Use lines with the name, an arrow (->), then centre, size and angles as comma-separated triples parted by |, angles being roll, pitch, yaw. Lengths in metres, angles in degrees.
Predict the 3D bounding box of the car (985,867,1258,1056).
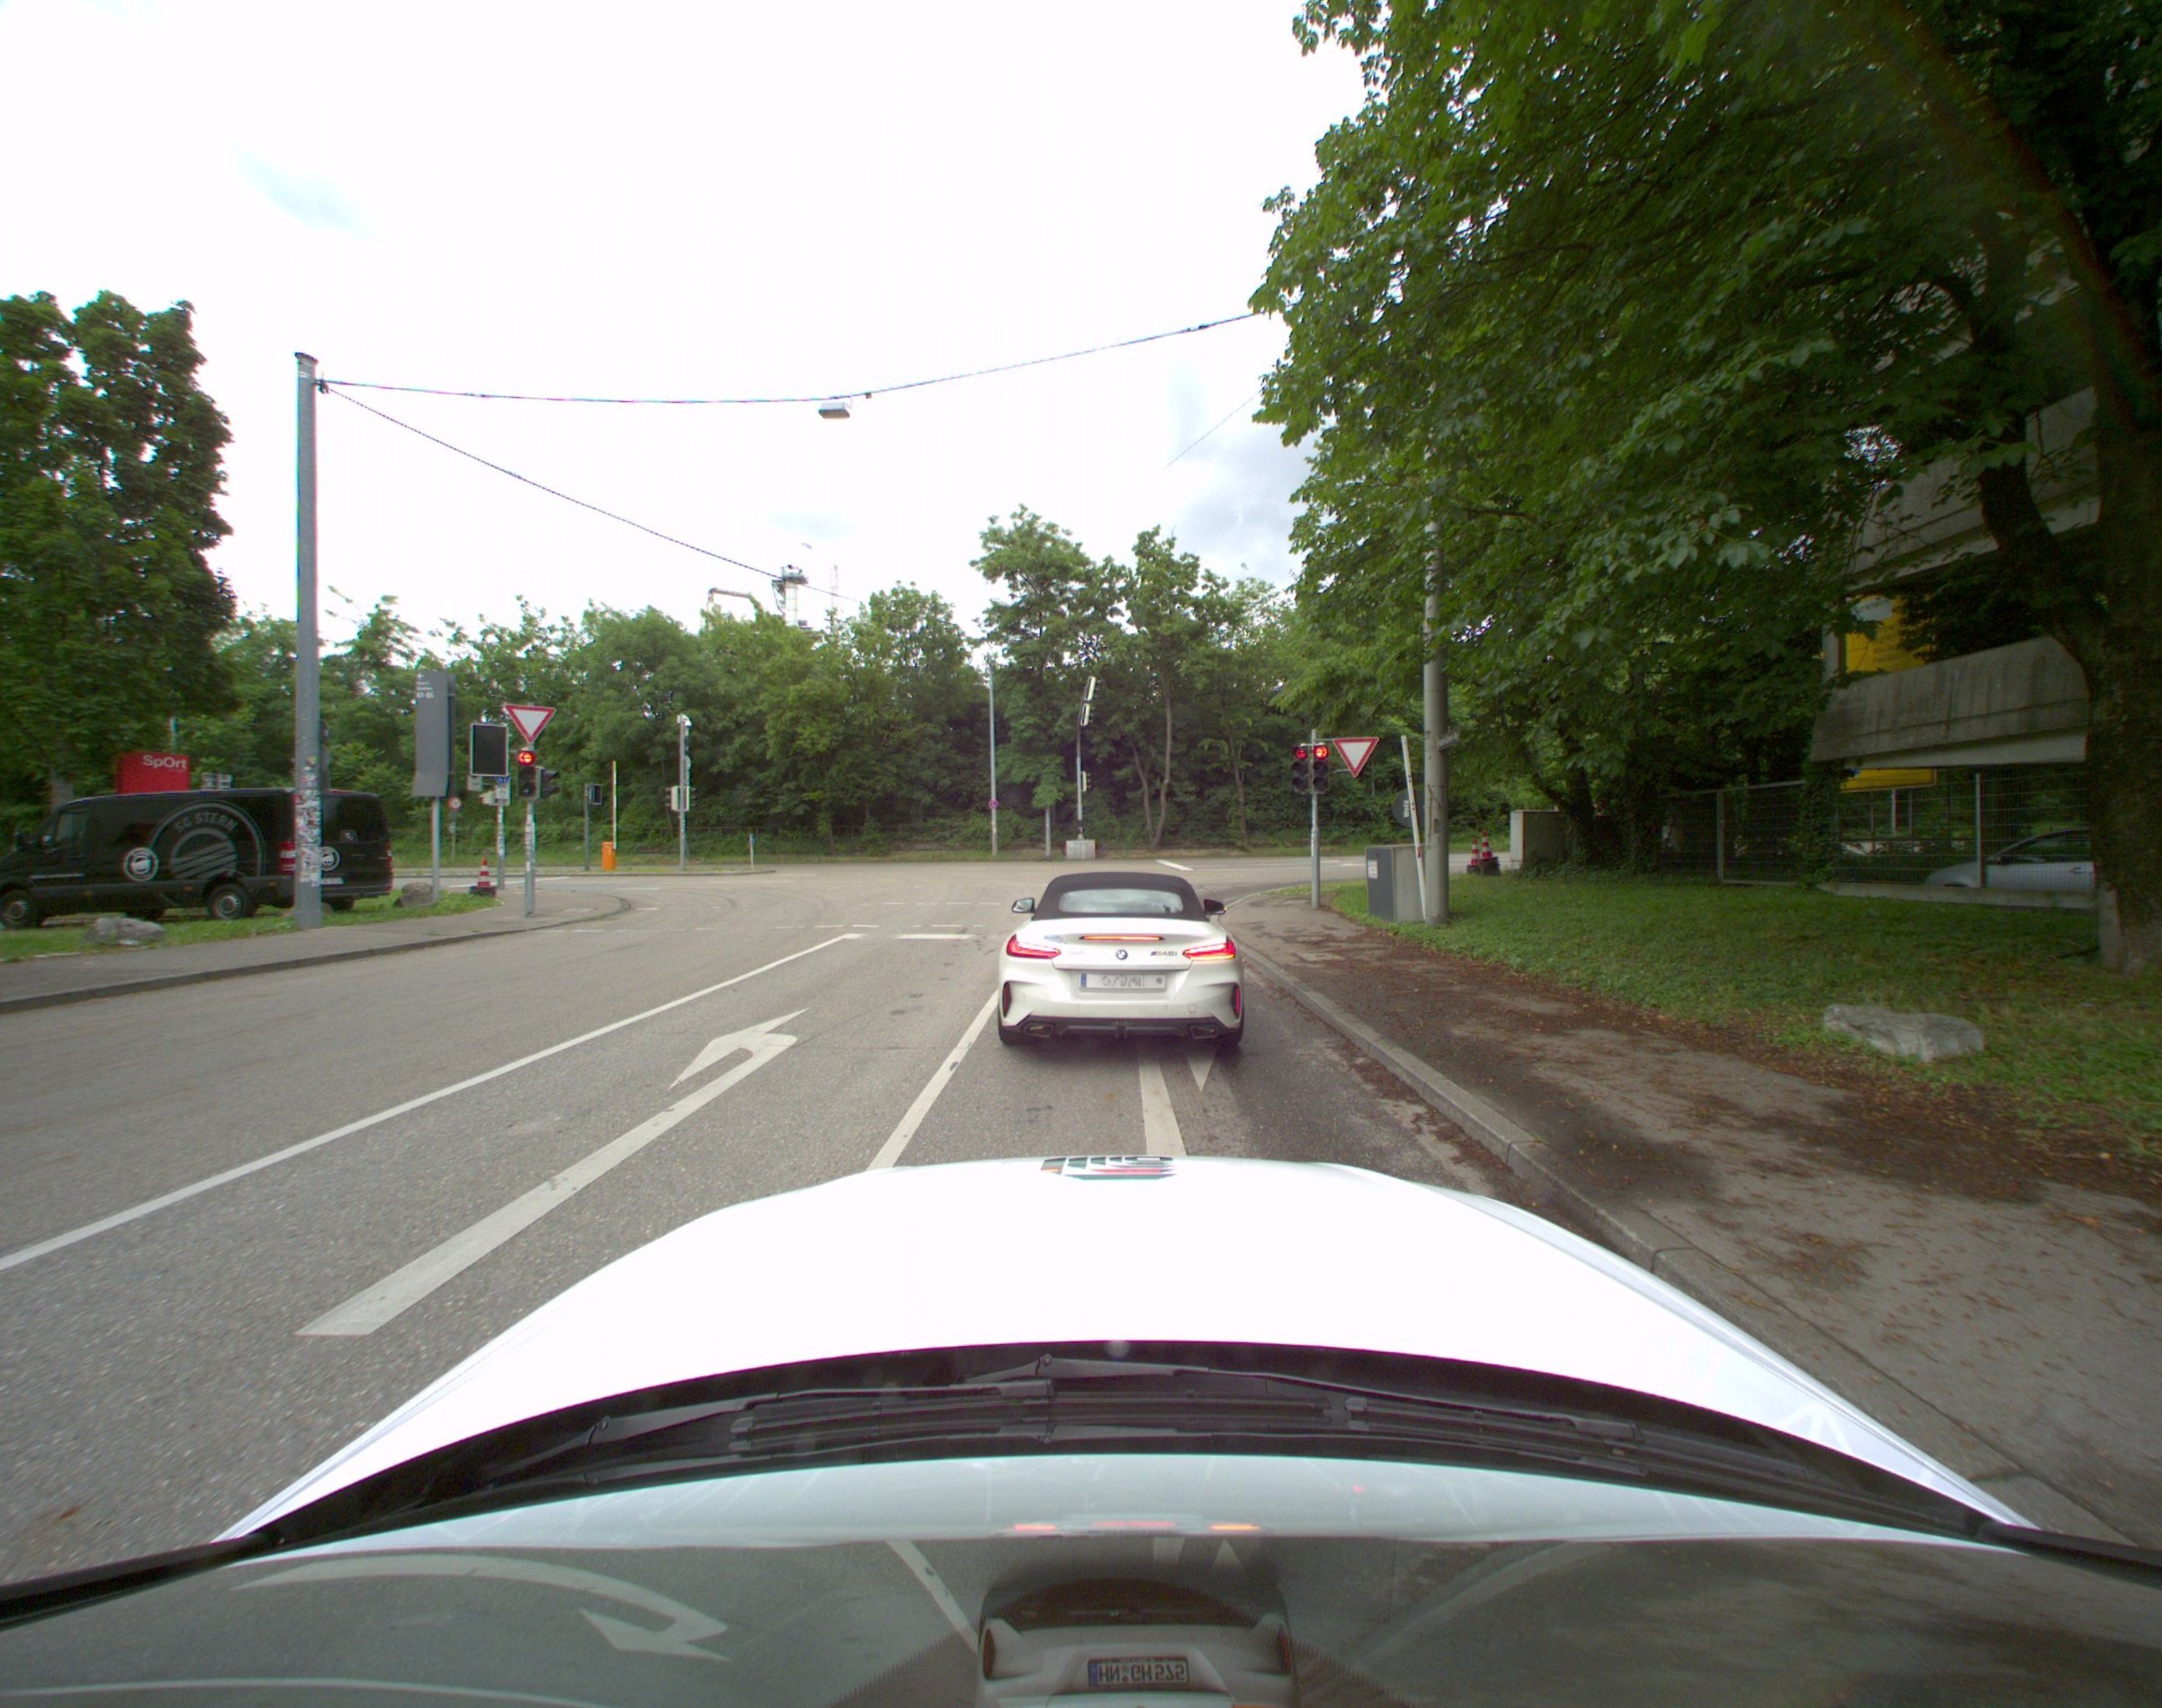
car -> 0.268, 0.758, 7.444 | 1.822, 1.257, 3.999 | 0, -1, 0

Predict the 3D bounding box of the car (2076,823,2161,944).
car -> 16.031, 0.408, 10.609 | 1.574, 1.708, 3.770 | 0, -1, 2

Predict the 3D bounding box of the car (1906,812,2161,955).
car -> 13.638, 0.380, 10.915 | 1.475, 1.708, 3.720 | 0, -1, 2

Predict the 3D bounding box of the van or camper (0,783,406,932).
van or camper -> -15.867, 0.094, 14.818 | 5.513, 2.314, 2.063 | -2, -1, 2
